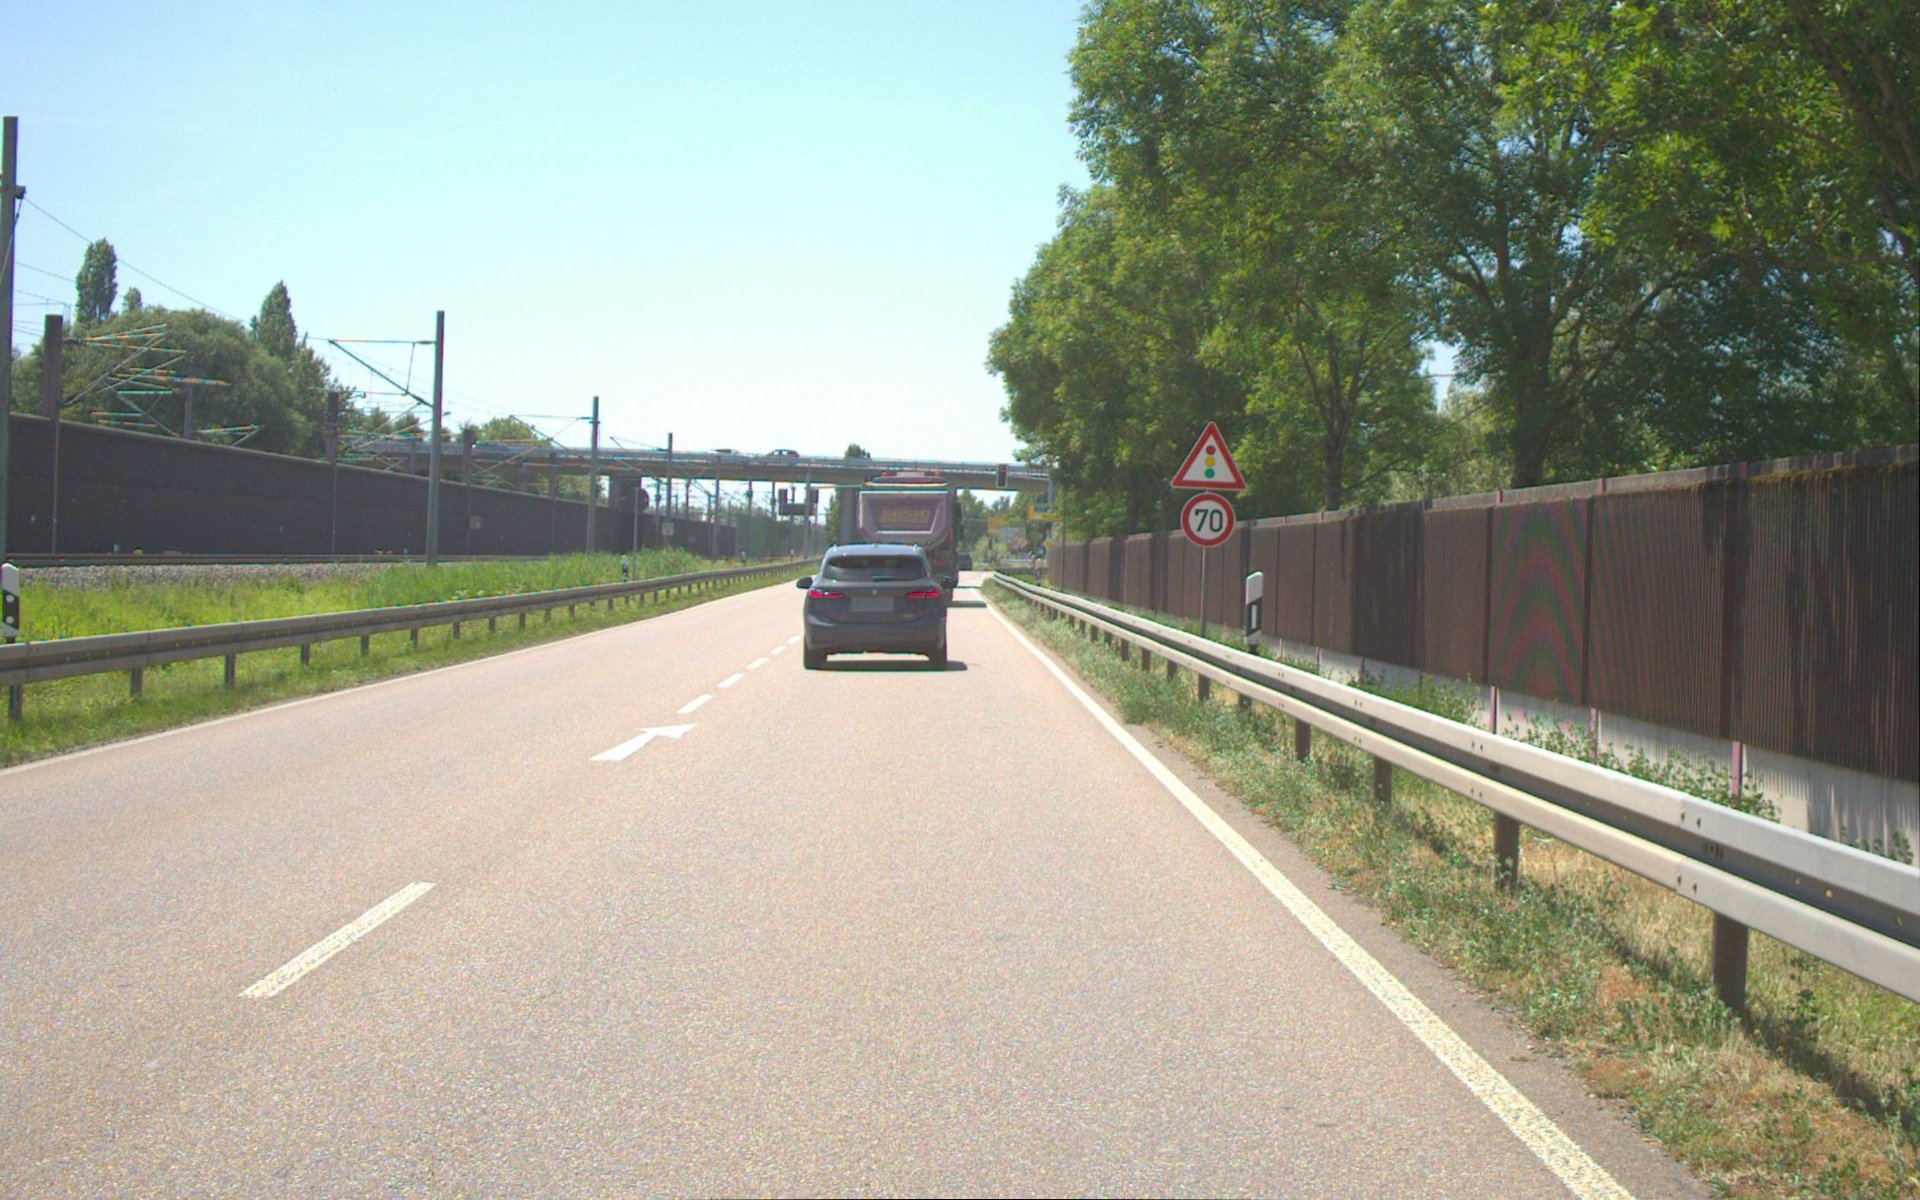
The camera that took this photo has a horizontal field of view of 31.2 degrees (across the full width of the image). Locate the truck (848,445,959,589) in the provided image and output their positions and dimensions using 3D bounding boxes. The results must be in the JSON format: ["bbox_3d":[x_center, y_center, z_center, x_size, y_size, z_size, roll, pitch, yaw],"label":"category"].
[{"bbox_3d":[-1.506,-2.287,97.482,2.833,3.808,11.885,1,1,0],"label":"truck"}]

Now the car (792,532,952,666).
[{"bbox_3d":[-1.089,-0.038,44.310,1.845,1.617,4.226,1,1,1],"label":"car"}]
